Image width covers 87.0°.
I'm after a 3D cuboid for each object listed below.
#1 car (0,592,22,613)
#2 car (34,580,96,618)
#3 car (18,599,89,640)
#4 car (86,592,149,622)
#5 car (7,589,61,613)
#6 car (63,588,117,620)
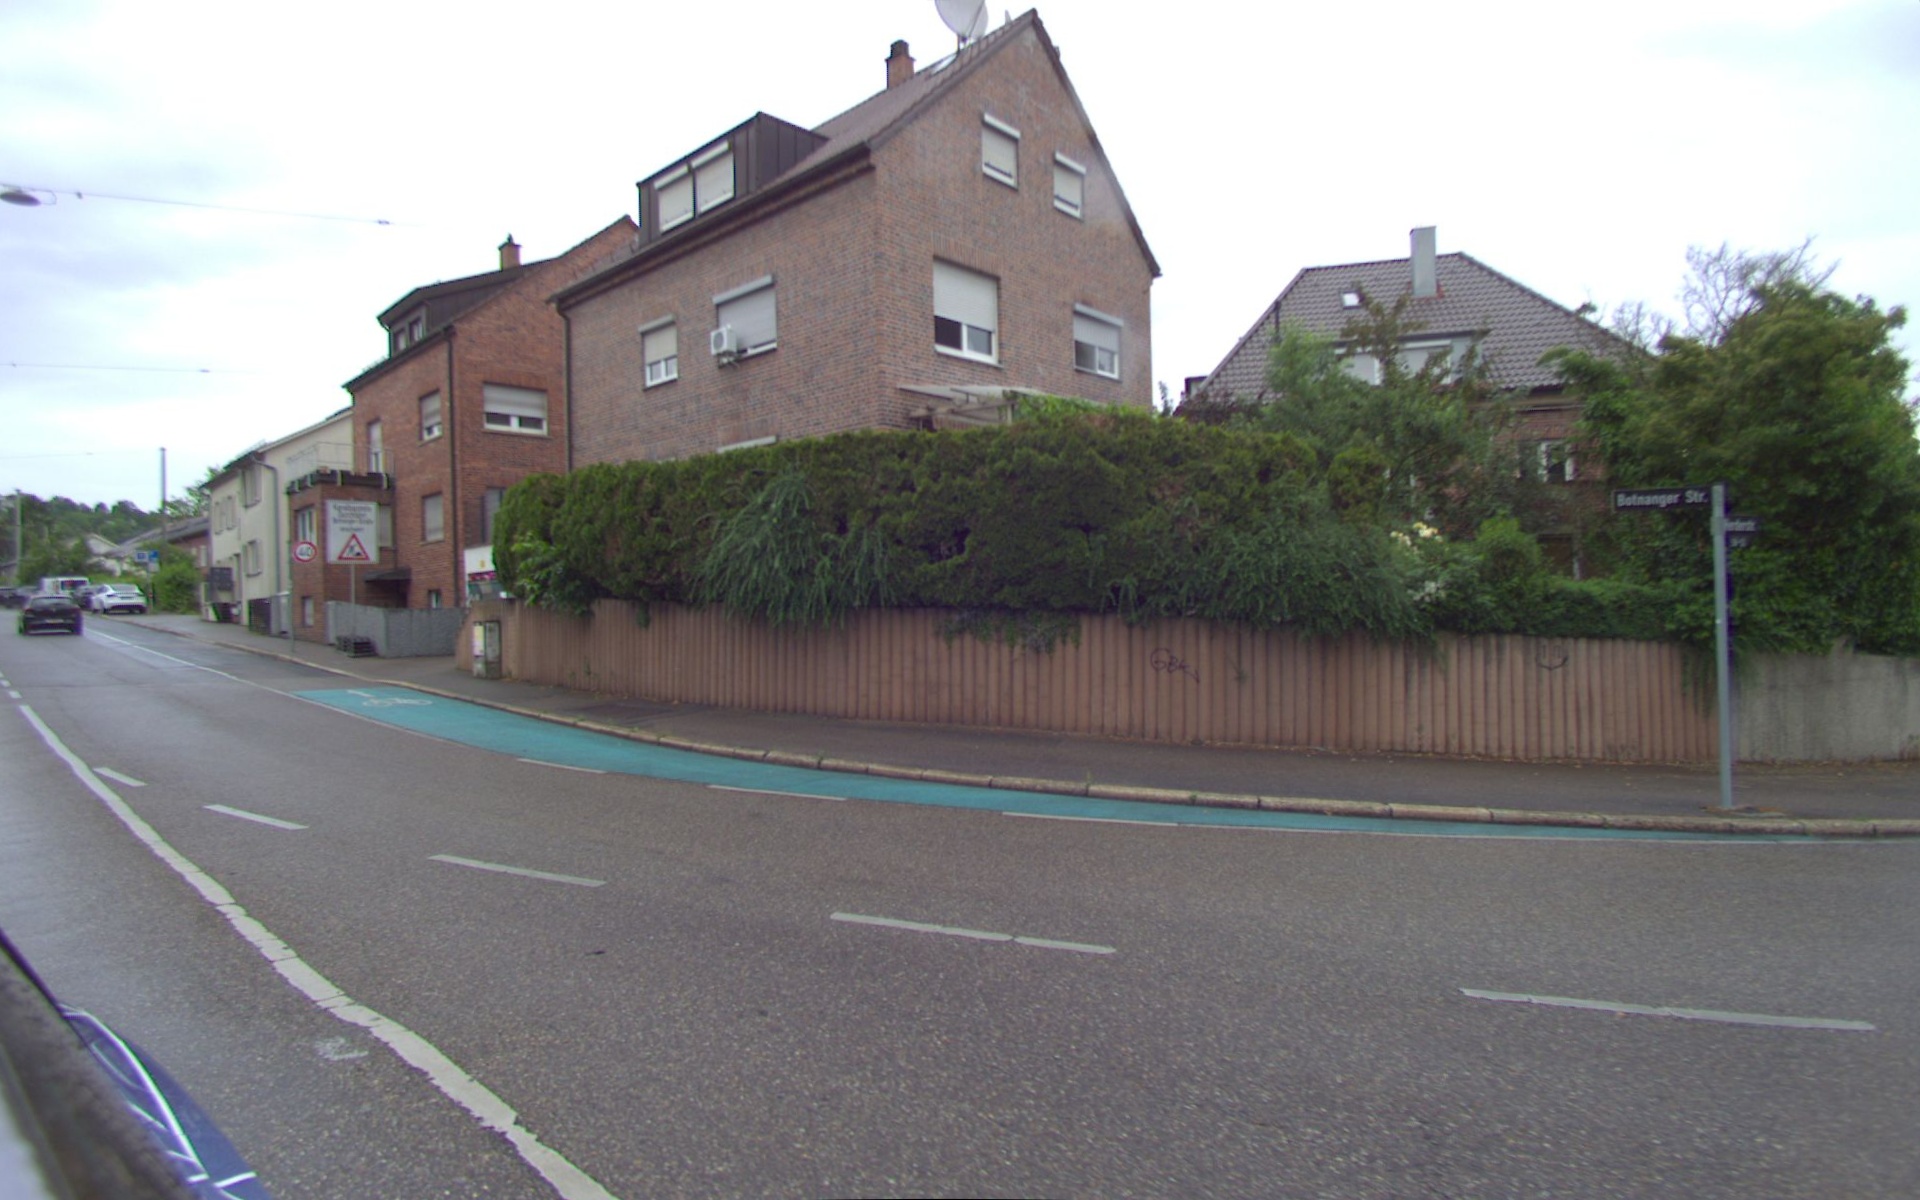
[{"bbox_3d":[-67.167,0.176,70.641,3.851,1.407,1.636,-1,1,34],"label":"car"},{"bbox_3d":[-57.429,-0.079,64.904,4.542,2.303,2.230,-1,1,39],"label":"car"},{"bbox_3d":[-34.371,0.716,38.356,1.893,1.457,3.721,1,-1,-44],"label":"car"},{"bbox_3d":[-46.512,0.382,55.839,4.260,1.577,1.922,0,1,40],"label":"car"},{"bbox_3d":[-61.994,0.073,67.751,3.999,1.501,1.637,-1,1,32],"label":"car"},{"bbox_3d":[-52.653,0.225,61.215,4.260,1.817,1.792,0,1,40],"label":"car"}]
